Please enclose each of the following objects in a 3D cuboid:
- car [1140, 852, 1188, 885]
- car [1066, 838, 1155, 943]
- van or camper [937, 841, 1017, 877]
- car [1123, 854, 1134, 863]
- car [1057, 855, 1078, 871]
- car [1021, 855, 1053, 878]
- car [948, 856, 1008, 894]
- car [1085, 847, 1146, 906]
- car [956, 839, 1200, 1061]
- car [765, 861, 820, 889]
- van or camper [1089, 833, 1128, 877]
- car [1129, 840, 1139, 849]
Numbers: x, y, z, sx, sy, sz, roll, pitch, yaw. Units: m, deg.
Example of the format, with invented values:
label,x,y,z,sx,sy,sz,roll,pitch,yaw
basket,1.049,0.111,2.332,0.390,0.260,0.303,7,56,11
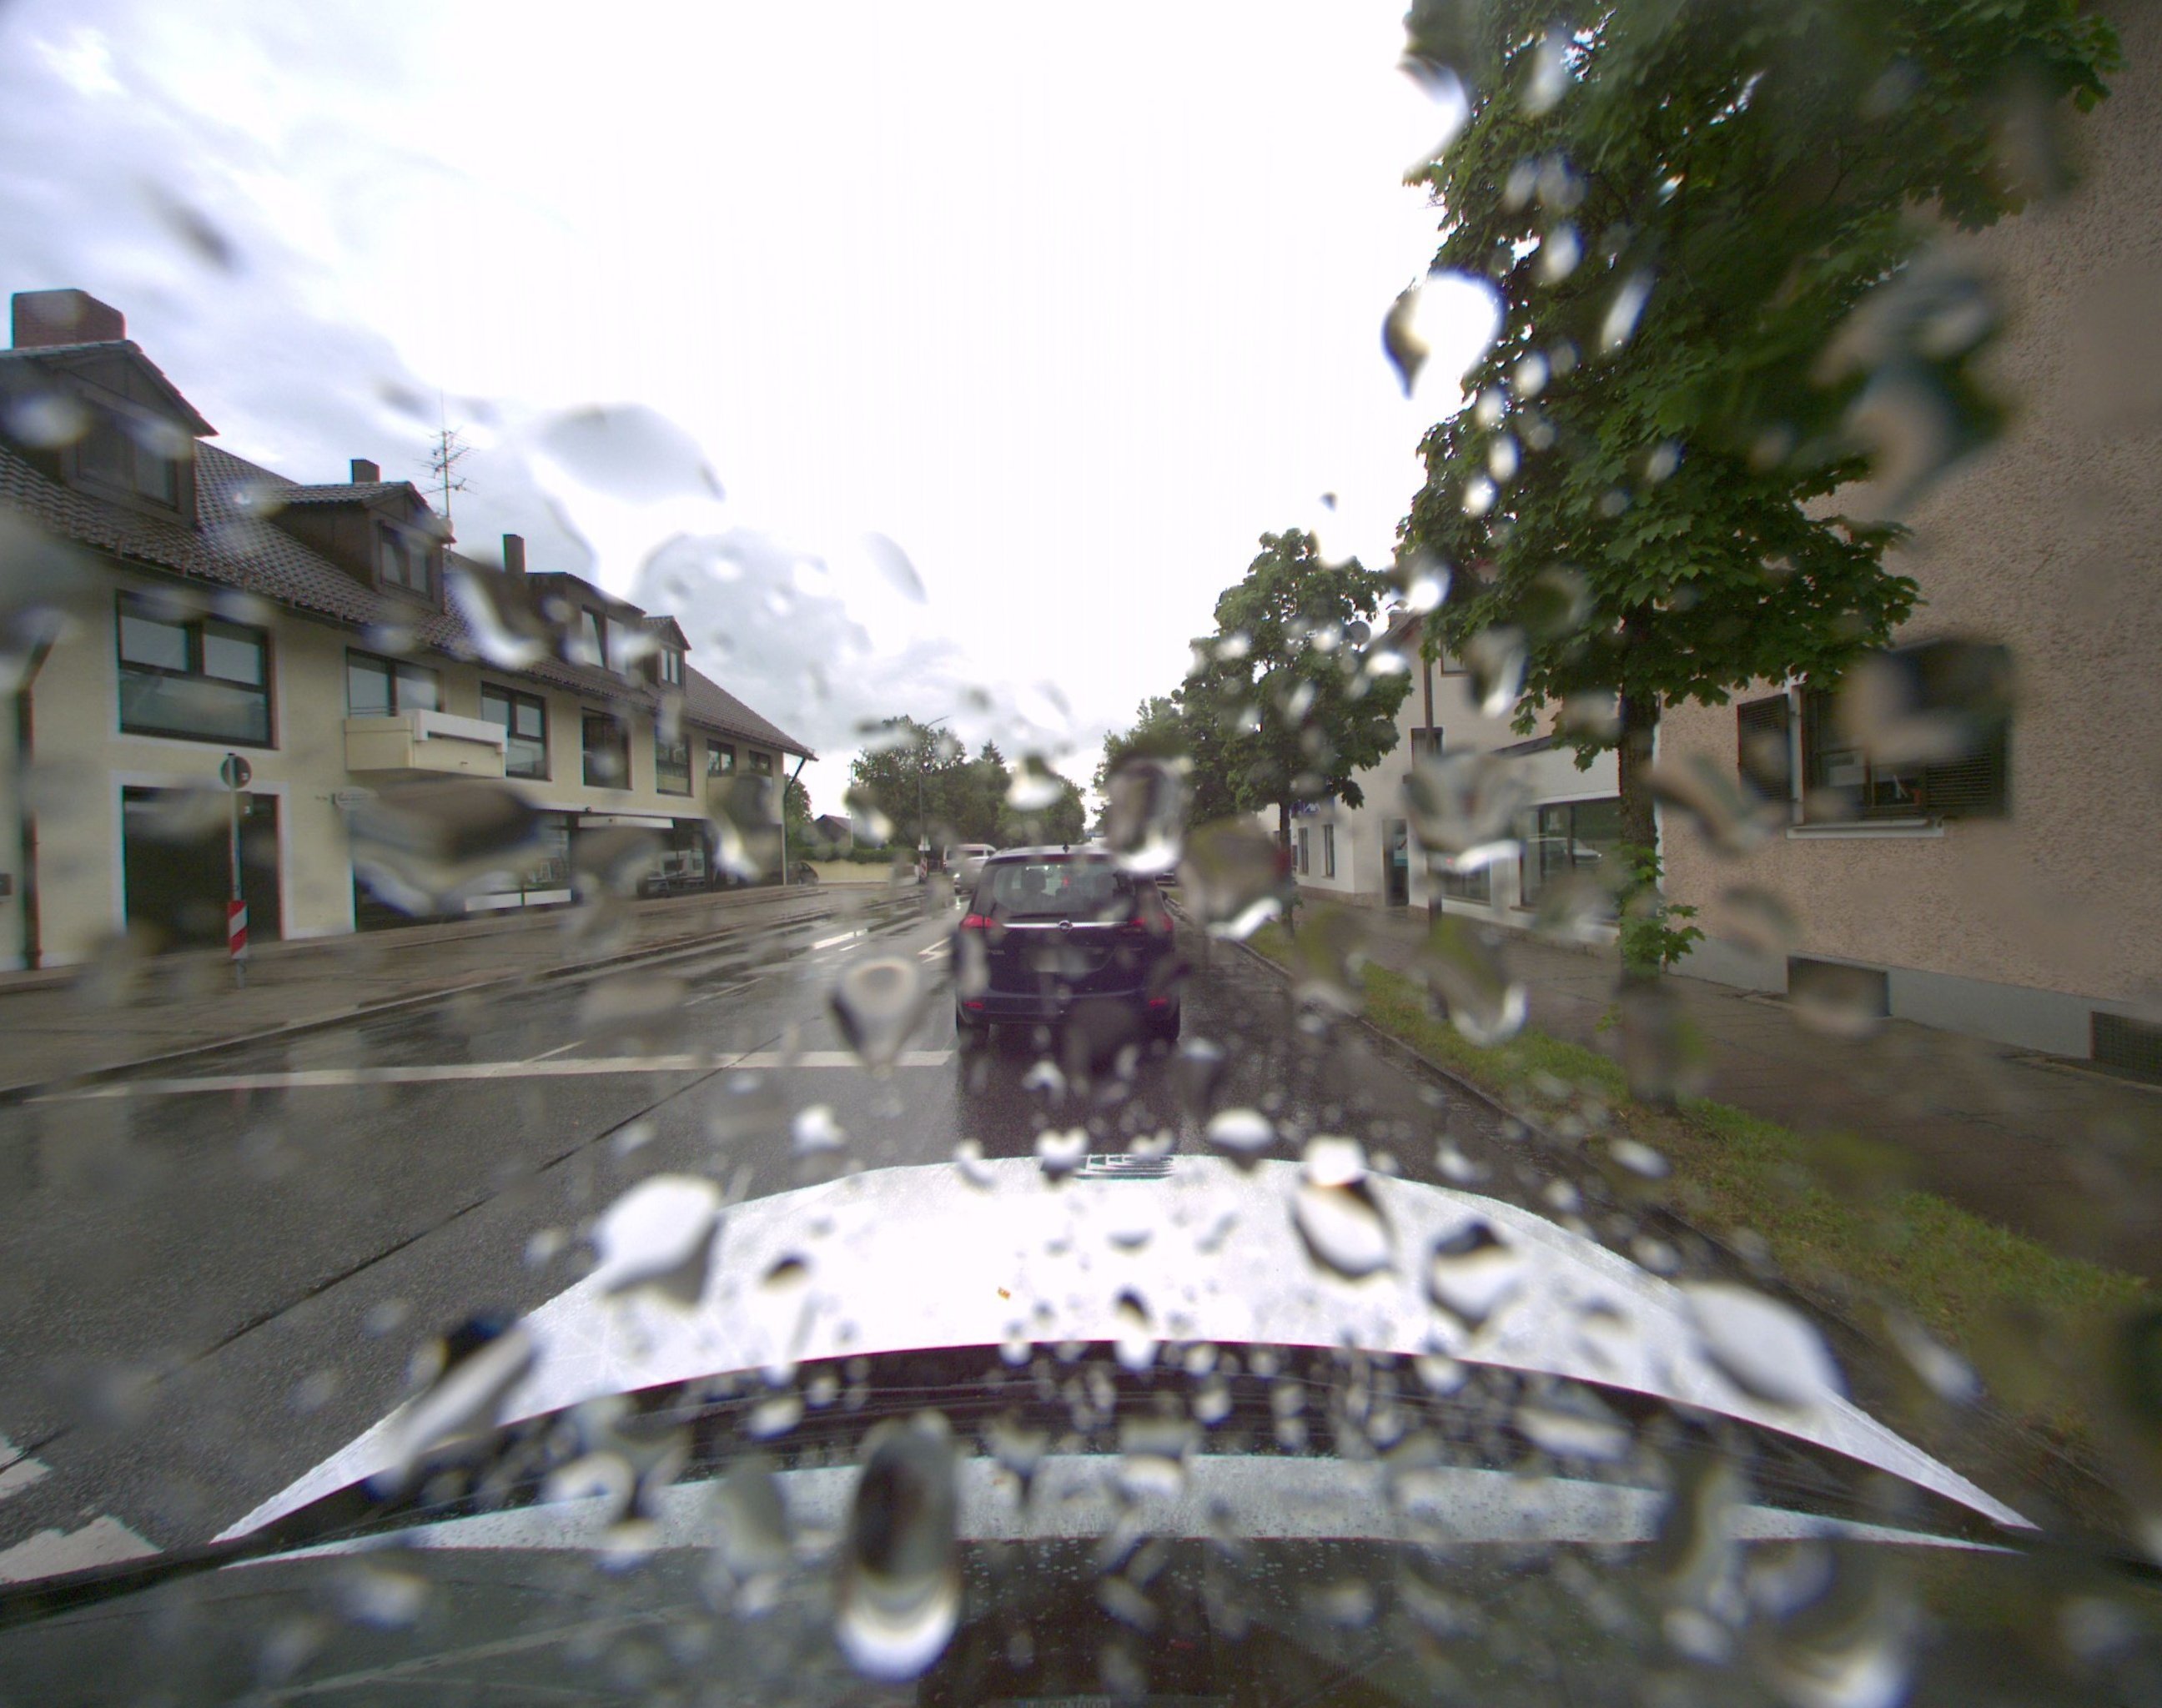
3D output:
label,x,y,z,sx,sy,sz,roll,pitch,yaw
car,4.106,0.707,41.013,2.110,1.581,3.936,0,0,1
car,0.548,0.620,15.322,1.494,1.776,3.113,0,0,2
van or camper,-8.426,0.366,66.580,6.235,2.707,2.098,-2,0,-4
car,7.580,0.713,129.657,1.624,1.378,3.624,0,-1,2
car,-1.303,0.859,82.150,1.745,1.511,4.233,-3,0,3
car,-3.167,0.887,59.087,1.920,1.566,4.127,-2,0,1
car,-4.585,0.910,36.814,1.960,1.563,4.153,-3,0,2
car,1.085,0.659,26.033,1.749,1.706,3.621,-2,0,2
car,0.040,0.698,7.736,1.762,1.604,3.665,0,0,2
car,-15.854,1.134,44.870,1.601,1.380,3.510,-3,0,2
van or camper,1.799,0.076,53.181,2.351,2.665,5.374,-2,0,2
car,8.995,-1.557,138.852,1.624,1.378,3.624,-3,0,2
